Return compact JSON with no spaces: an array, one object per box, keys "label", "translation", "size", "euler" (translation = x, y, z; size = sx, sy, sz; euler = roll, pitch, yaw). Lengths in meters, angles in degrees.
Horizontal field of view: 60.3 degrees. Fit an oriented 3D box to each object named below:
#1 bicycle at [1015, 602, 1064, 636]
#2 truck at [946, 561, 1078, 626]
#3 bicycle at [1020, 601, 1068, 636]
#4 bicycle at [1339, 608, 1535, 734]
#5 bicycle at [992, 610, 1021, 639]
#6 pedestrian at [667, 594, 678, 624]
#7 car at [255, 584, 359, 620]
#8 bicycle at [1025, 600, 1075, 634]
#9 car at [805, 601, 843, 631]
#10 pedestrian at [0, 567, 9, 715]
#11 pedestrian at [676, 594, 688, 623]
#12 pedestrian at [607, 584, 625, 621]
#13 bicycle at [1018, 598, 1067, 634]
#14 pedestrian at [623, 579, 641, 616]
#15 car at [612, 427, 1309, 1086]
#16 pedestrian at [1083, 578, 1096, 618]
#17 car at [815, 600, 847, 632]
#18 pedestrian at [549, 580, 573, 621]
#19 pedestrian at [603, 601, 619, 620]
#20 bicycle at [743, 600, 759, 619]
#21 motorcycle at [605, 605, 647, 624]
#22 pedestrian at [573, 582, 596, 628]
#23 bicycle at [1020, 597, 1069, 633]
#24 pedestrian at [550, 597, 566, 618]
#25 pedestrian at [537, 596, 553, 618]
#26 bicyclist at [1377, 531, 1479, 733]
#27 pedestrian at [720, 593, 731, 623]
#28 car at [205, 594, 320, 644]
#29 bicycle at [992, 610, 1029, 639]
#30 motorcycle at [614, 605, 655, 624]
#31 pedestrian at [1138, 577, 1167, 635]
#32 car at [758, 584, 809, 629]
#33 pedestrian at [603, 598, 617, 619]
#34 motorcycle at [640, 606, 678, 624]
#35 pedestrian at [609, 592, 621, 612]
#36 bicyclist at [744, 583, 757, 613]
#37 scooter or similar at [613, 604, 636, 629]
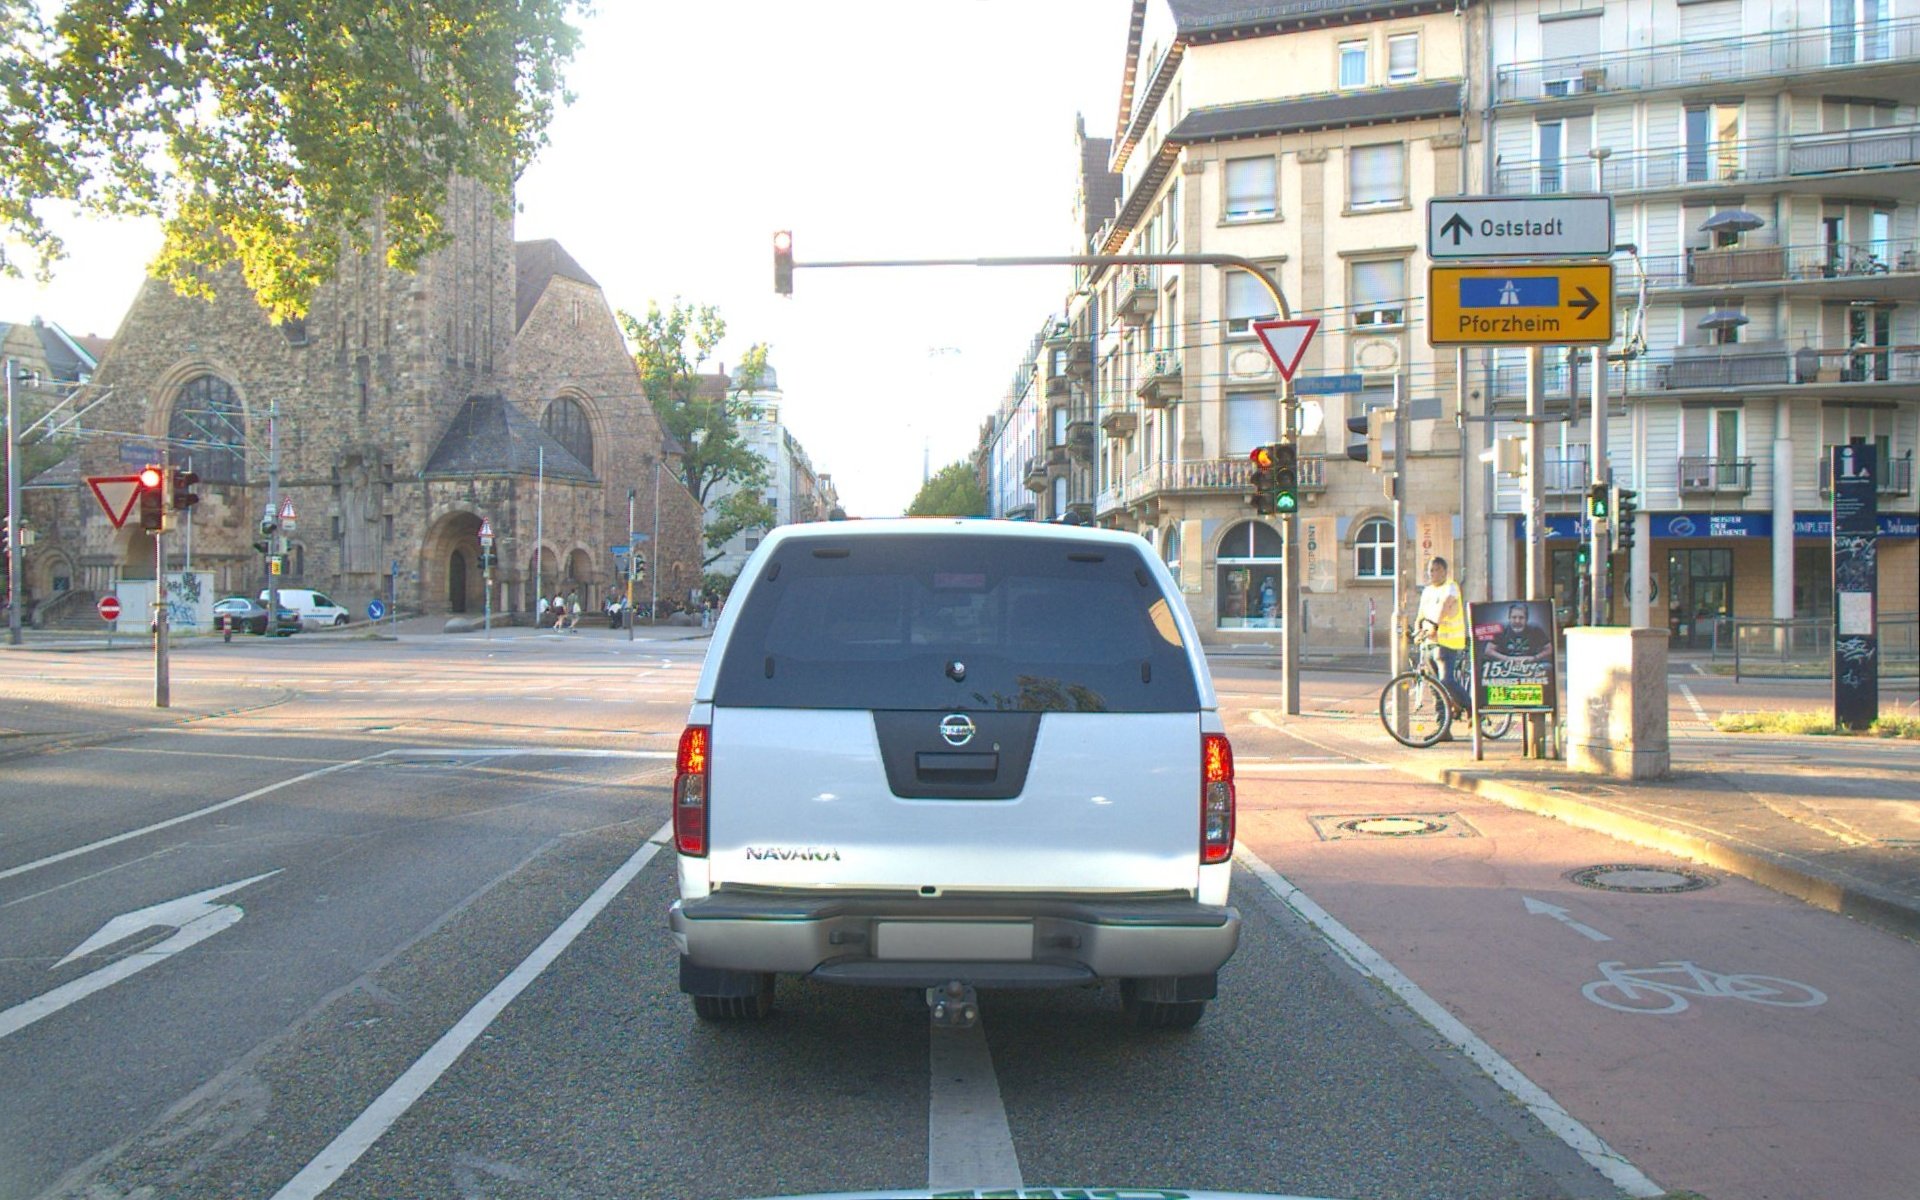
[{"label":"bicycle","translation":[3.156,0.744,65.781],"size":[1.818,1.259,0.530],"euler":[-3,-1,-3]},{"label":"truck","translation":[2.227,-0.247,68.821],"size":[5.630,2.610,2.250],"euler":[1,-1,-45]},{"label":"bicycle","translation":[3.286,0.733,64.647],"size":[1.781,1.259,0.412],"euler":[-3,-1,-3]},{"label":"bicycle","translation":[4.555,0.658,15.720],"size":[2.046,1.129,0.621],"euler":[1,-1,-34]},{"label":"bicycle","translation":[1.778,0.946,63.591],"size":[1.055,1.042,0.317],"euler":[-3,-1,-3]},{"label":"pedestrian","translation":[-16.902,0.535,97.251],"size":[0.631,1.725,0.560],"euler":[1,-1,-10]},{"label":"car","translation":[-29.207,0.113,74.101],"size":[1.679,1.543,4.454],"euler":[1,-1,23]},{"label":"bicycle","translation":[3.376,0.638,62.272],"size":[1.781,1.170,0.636],"euler":[-3,-1,-3]},{"label":"car","translation":[-8.031,0.987,98.009],"size":[1.953,1.585,4.766],"euler":[0,-3,-2]},{"label":"pedestrian","translation":[-11.101,0.447,18.234],"size":[0.786,1.656,0.773],"euler":[1,-1,-6]},{"label":"pedestrian","translation":[-16.722,0.519,99.556],"size":[0.630,1.725,0.561],"euler":[1,-1,-2]},{"label":"pedestrian","translation":[-15.948,0.114,76.666],"size":[0.620,1.728,0.603],"euler":[1,-1,12]},{"label":"bicycle","translation":[3.191,0.614,63.920],"size":[1.781,1.259,0.477],"euler":[-3,-1,-3]},{"label":"pedestrian","translation":[-15.160,-0.114,76.446],"size":[0.620,1.728,0.603],"euler":[1,-1,10]},{"label":"car","translation":[-0.020,0.468,6.714],"size":[1.953,1.841,3.999],"euler":[1,-1,-1]},{"label":"pedestrian","translation":[5.565,-0.087,71.111],"size":[0.517,1.683,0.547],"euler":[1,-1,-1]},{"label":"car","translation":[-8.537,1.060,109.853],"size":[1.953,2.049,4.948],"euler":[0,0,-2]},{"label":"pedestrian","translation":[-16.782,0.014,69.600],"size":[0.796,1.699,0.859],"euler":[1,-1,-3]},{"label":"pedestrian","translation":[-18.626,0.564,88.225],"size":[0.540,0.977,0.710],"euler":[1,-1,20]},{"label":"bicycle","translation":[-11.884,0.520,93.958],"size":[0.589,1.062,1.937],"euler":[1,-1,-15]},{"label":"motorcycle","translation":[-18.460,0.804,91.396],"size":[2.201,1.005,0.707],"euler":[1,-1,-7]},{"label":"pedestrian","translation":[-15.808,0.215,69.682],"size":[0.796,1.934,0.666],"euler":[1,-1,-3]},{"label":"bicycle","translation":[3.238,0.560,63.211],"size":[1.781,1.259,0.487],"euler":[-3,-1,-3]},{"label":"pedestrian","translation":[-18.105,0.339,74.407],"size":[0.511,0.977,0.479],"euler":[1,-1,18]},{"label":"pedestrian","translation":[-18.719,0.331,74.672],"size":[0.511,0.977,0.479],"euler":[1,-1,18]},{"label":"bicyclist","translation":[4.418,0.301,15.618],"size":[0.690,1.856,0.621],"euler":[1,-1,-33]},{"label":"pedestrian","translation":[-15.028,0.528,106.010],"size":[0.632,1.888,0.559],"euler":[1,-1,-15]},{"label":"car","translation":[-25.608,0.716,60.683],"size":[3.917,1.647,1.993],"euler":[-1,-5,34]},{"label":"bicycle","translation":[1.956,0.940,64.305],"size":[1.344,1.042,0.317],"euler":[-3,-1,-3]},{"label":"motorcycle","translation":[-18.397,0.825,93.424],"size":[2.201,1.005,0.707],"euler":[1,-1,-7]},{"label":"pedestrian","translation":[6.080,0.180,52.309],"size":[0.771,1.810,0.543],"euler":[1,-1,24]},{"label":"car","translation":[-7.855,0.266,73.984],"size":[1.953,1.815,4.796],"euler":[1,1,-3]},{"label":"pedestrian","translation":[-16.950,0.413,80.134],"size":[0.510,0.977,0.479],"euler":[1,-1,16]},{"label":"motorcycle","translation":[-17.428,0.863,95.728],"size":[2.119,1.005,0.594],"euler":[1,-1,19]},{"label":"pedestrian","translation":[-16.747,0.097,80.347],"size":[0.513,0.977,0.477],"euler":[1,-1,-17]},{"label":"bicyclist","translation":[-11.893,-0.091,94.065],"size":[0.589,1.673,0.959],"euler":[1,-1,-15]},{"label":"scooter or similar","translation":[-15.336,0.758,75.585],"size":[0.620,1.122,1.079],"euler":[1,0,14]}]
